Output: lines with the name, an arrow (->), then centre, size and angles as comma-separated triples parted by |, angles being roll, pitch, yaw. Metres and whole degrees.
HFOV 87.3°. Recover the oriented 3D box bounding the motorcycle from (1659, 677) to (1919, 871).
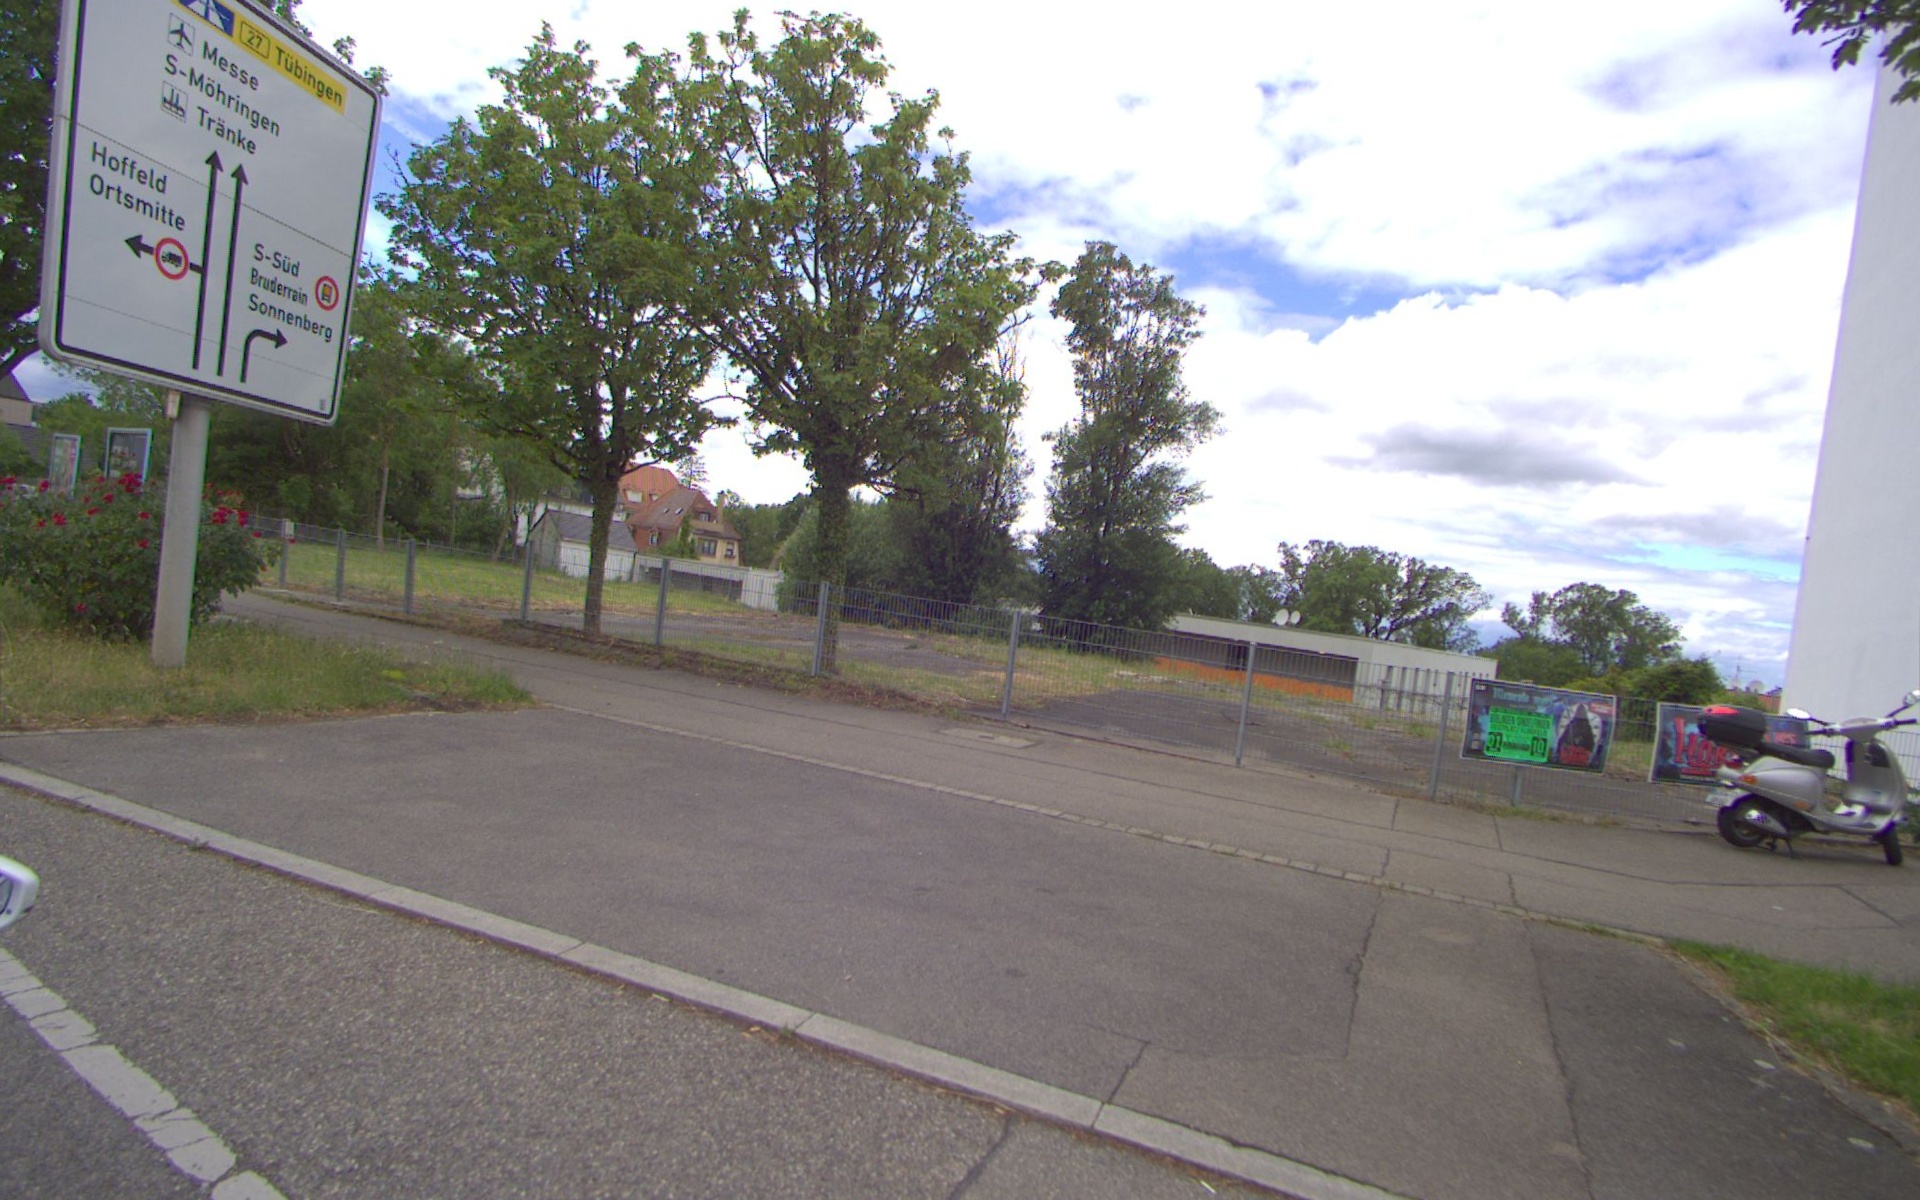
motorcycle -> 6.431, 1.323, 7.767 | 1.553, 1.237, 0.583 | 6, 1, -3
